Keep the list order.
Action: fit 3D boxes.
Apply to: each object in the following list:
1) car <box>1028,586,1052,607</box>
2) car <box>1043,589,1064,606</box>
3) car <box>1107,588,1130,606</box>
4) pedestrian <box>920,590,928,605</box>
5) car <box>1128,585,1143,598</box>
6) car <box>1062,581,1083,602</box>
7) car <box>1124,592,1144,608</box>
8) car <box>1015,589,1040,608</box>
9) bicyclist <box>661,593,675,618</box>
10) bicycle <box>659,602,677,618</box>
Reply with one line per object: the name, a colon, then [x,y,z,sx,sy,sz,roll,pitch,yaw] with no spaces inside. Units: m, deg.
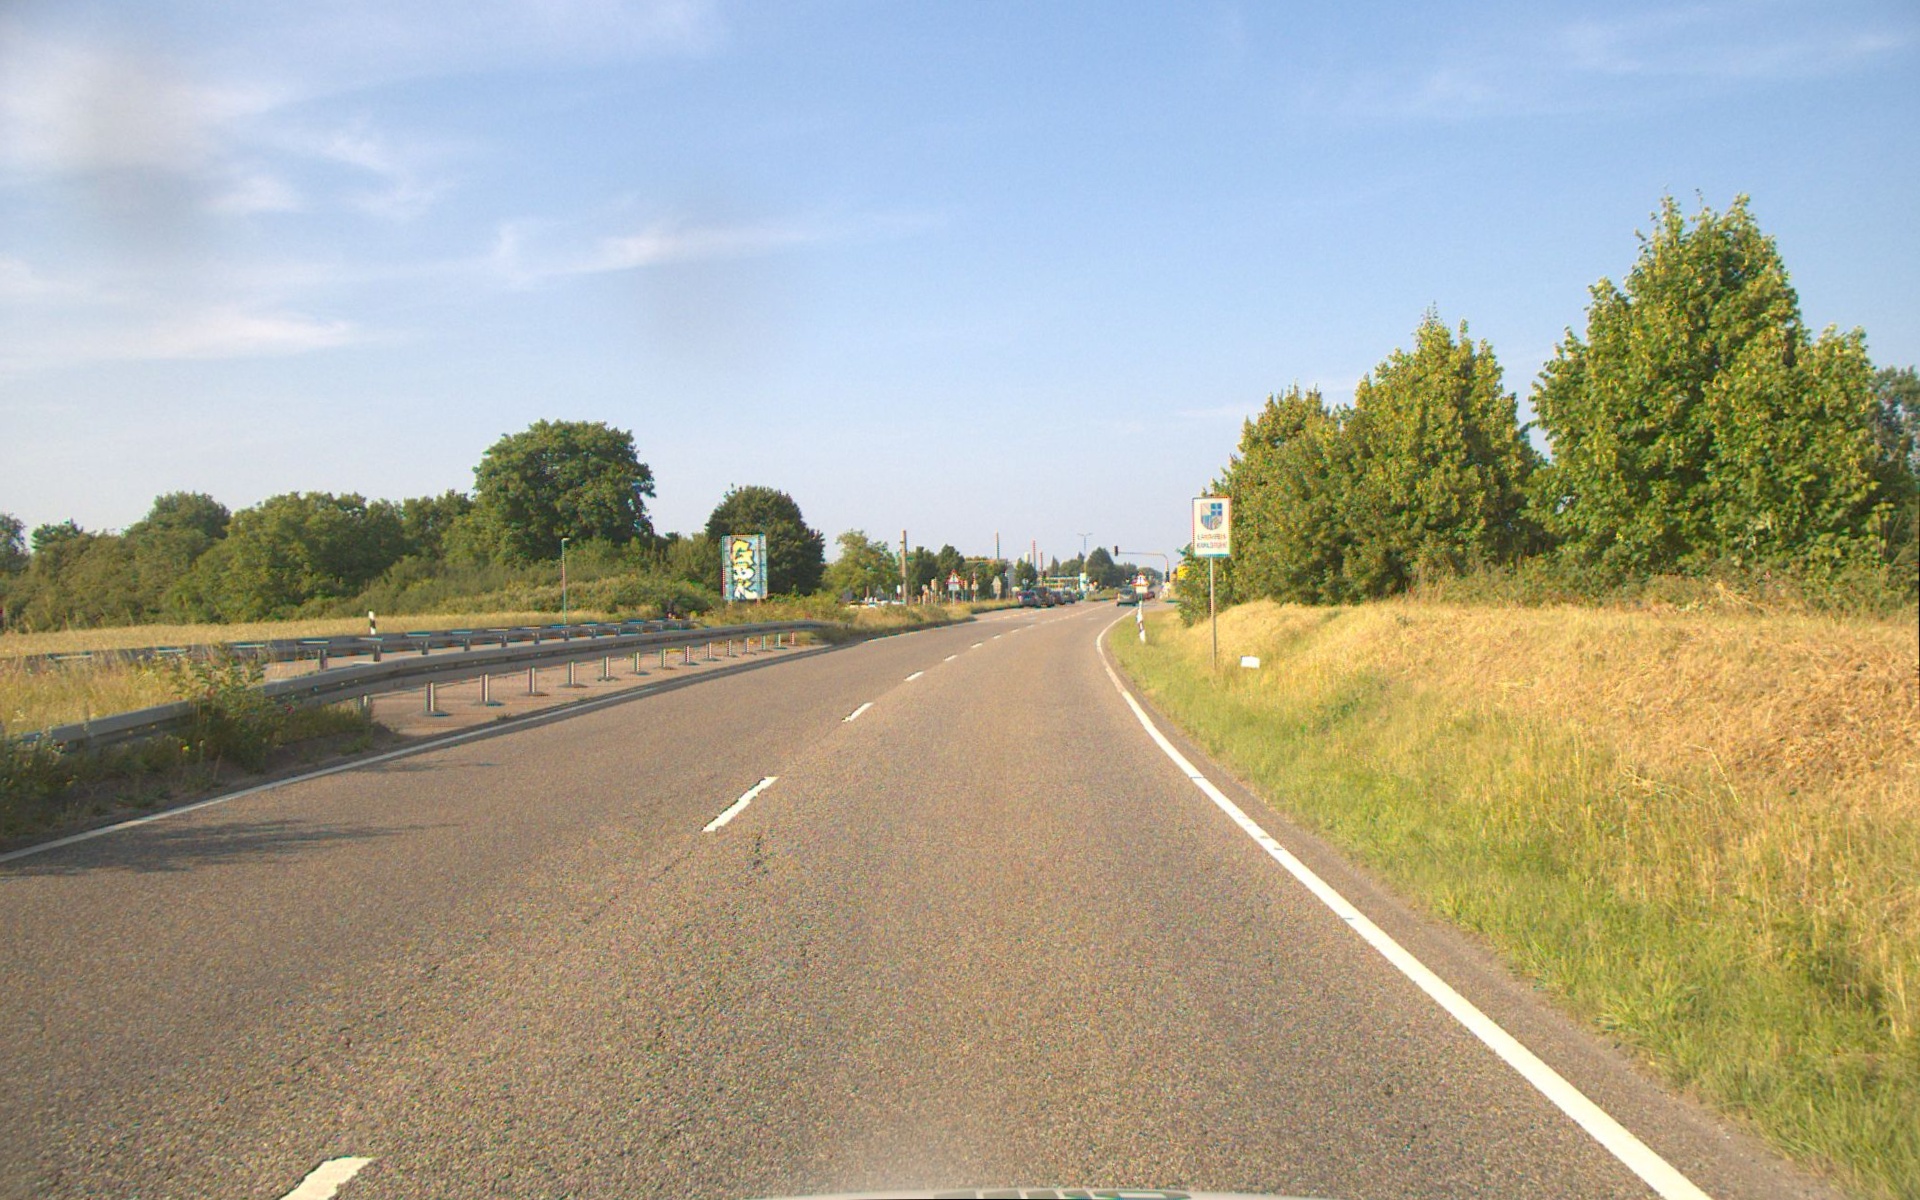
car: [7.201,-0.323,148.706,1.695,1.888,4.524,-1,0,8]
car: [9.419,-0.281,166.059,1.732,1.497,4.019,-1,2,8]
car: [14.940,-0.293,155.432,1.951,1.579,4.003,-1,0,8]
pedestrian: [-4.088,-0.275,188.111,0.896,1.736,1.067,1,-1,2]
car: [24.200,-1.185,227.963,1.951,1.624,4.003,-2,0,7]
car: [12.502,-0.933,183.910,1.951,2.049,4.840,-1,-2,8]
car: [18.799,0.002,178.899,1.951,1.579,4.003,-1,0,8]
car: [5.823,-0.139,141.970,1.695,1.481,4.524,-1,0,8]
bicyclist: [-16.875,0.300,95.574,0.457,1.414,1.048,-1,0,7]
bicycle: [-16.848,0.548,95.589,0.518,0.893,1.706,-1,0,7]
